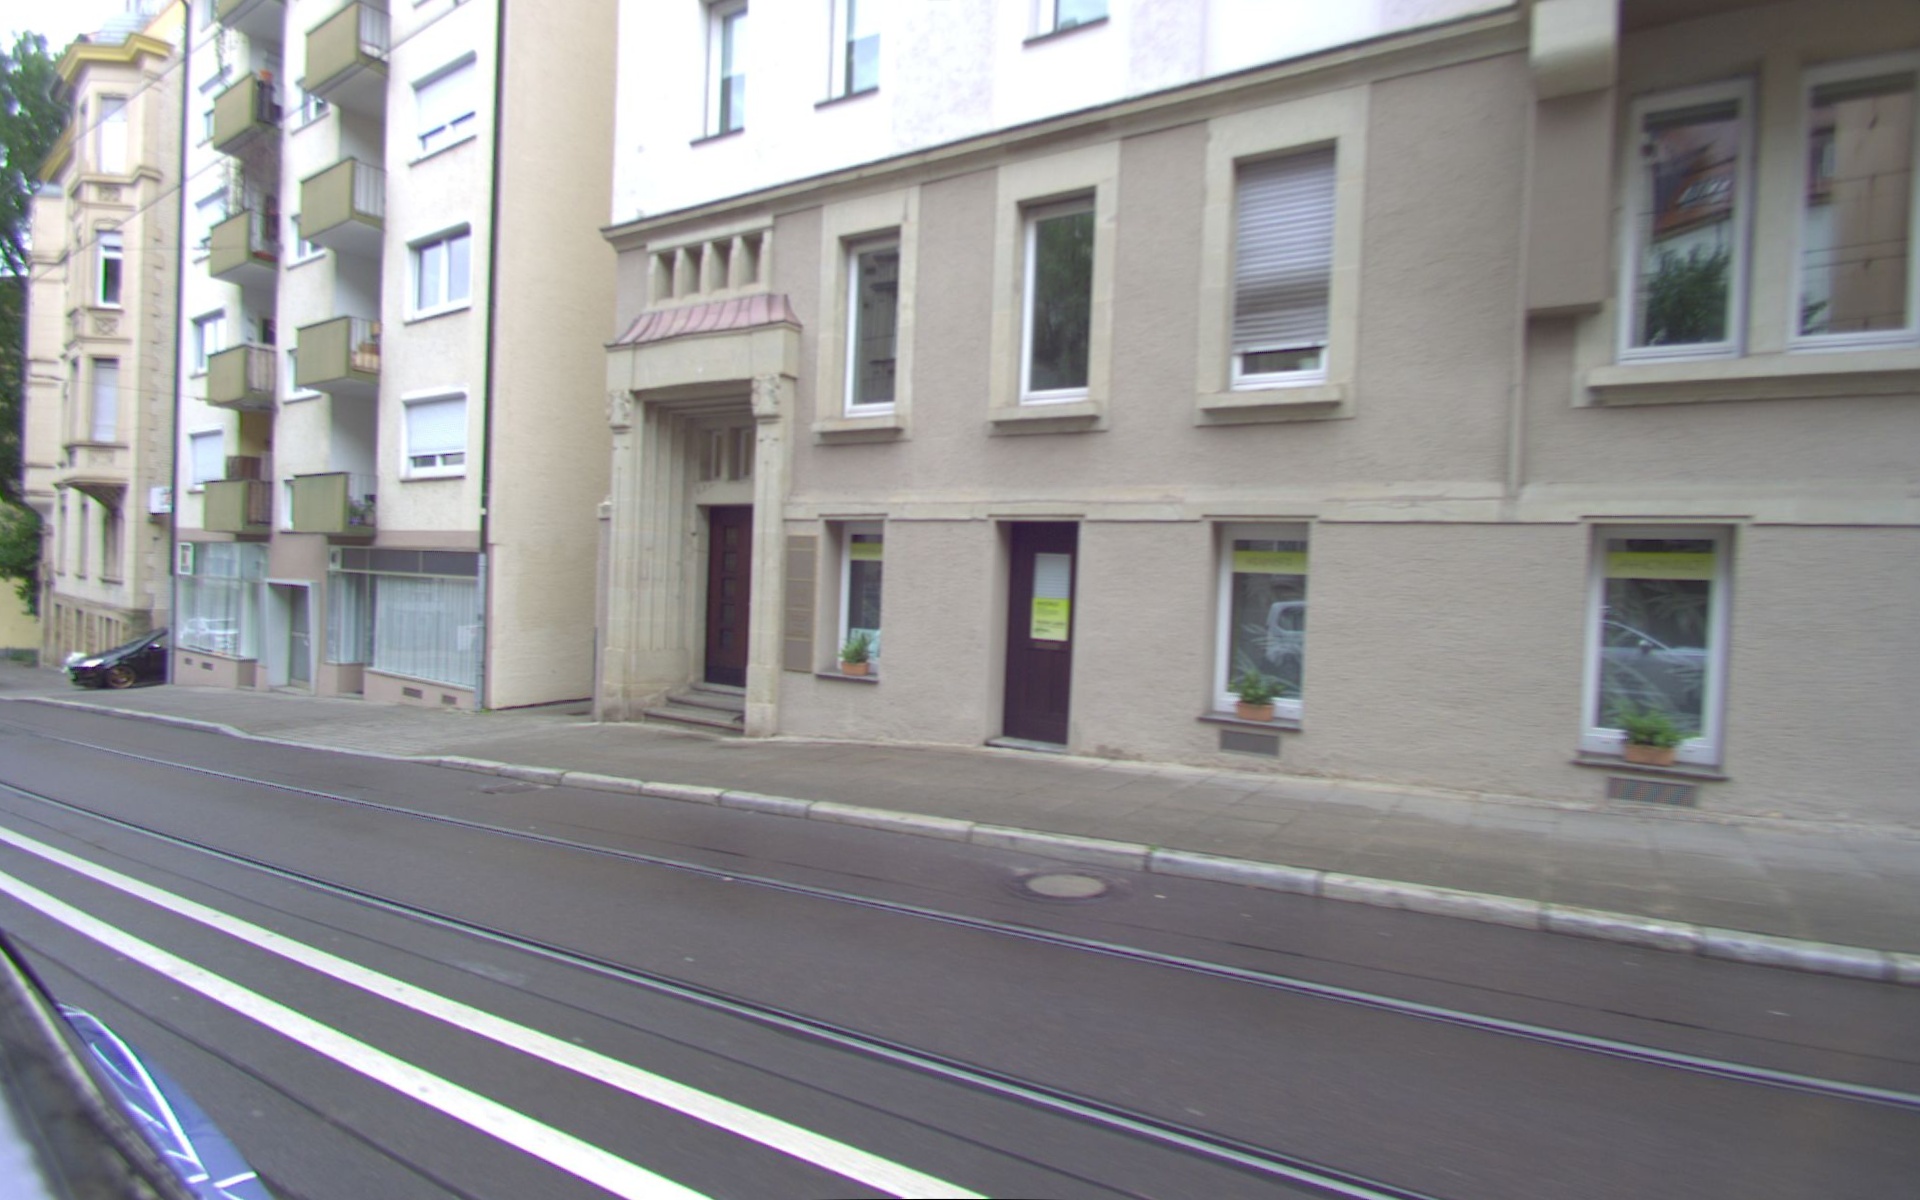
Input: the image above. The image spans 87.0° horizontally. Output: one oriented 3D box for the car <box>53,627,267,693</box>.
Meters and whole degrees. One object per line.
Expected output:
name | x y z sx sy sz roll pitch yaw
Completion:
car | -19.981 1.440 25.403 1.738 1.465 3.948 -1 -1 39
